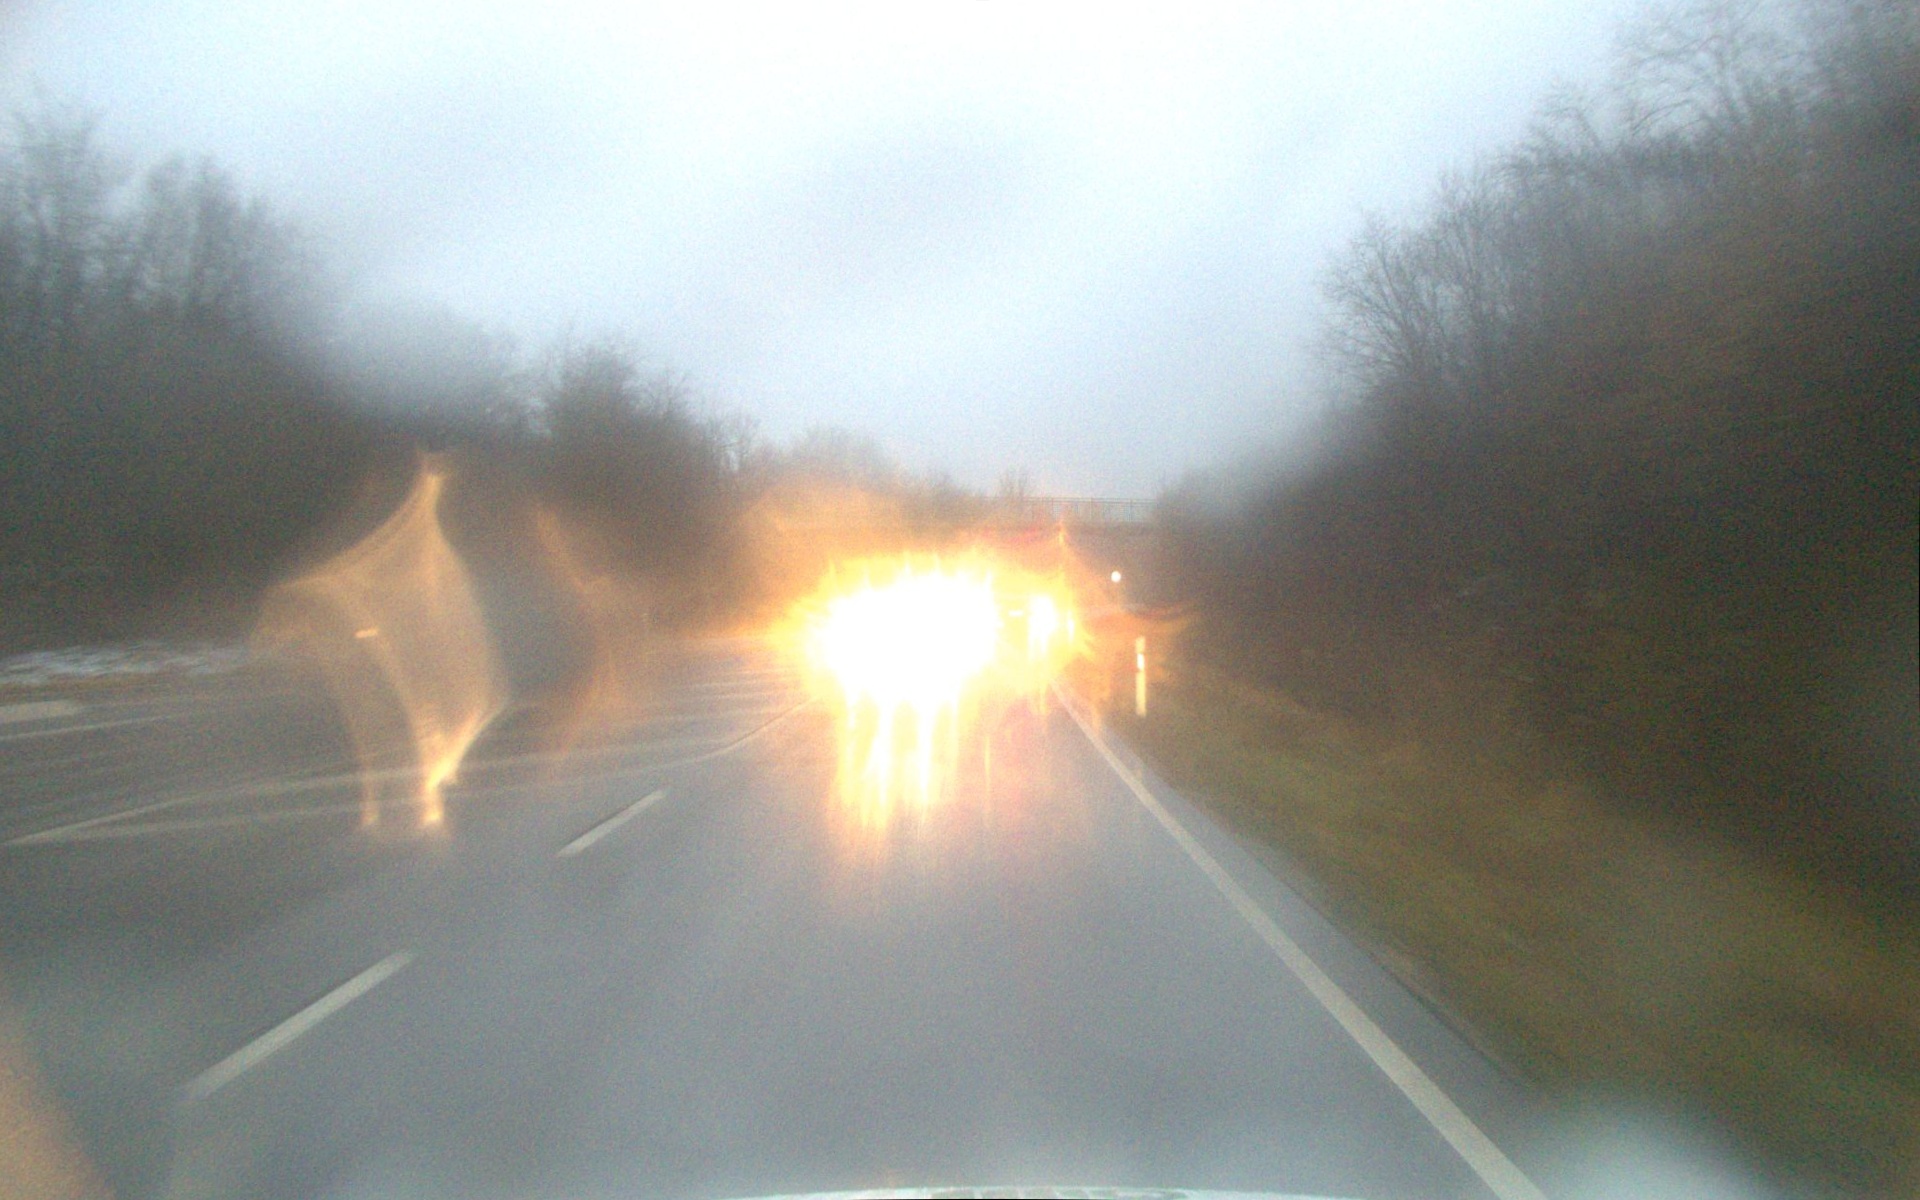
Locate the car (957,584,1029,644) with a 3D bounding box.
[{"bbox_3d":[0.882,0.326,42.053,1.643,1.414,4.100,-1,0,3],"label":"car"}]

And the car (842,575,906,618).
[{"bbox_3d":[-3.288,-0.158,63.991,1.785,1.550,4.302,-1,1,6],"label":"car"}]

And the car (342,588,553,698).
[{"bbox_3d":[-10.069,0.797,32.858,1.799,2.004,4.360,1,0,18],"label":"car"}]

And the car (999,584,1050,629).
[{"bbox_3d":[2.610,0.236,66.235,1.643,1.704,4.101,-1,0,8],"label":"car"}]

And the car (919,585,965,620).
[{"bbox_3d":[-0.882,0.110,83.680,1.862,1.677,4.730,0,1,5],"label":"car"}]
